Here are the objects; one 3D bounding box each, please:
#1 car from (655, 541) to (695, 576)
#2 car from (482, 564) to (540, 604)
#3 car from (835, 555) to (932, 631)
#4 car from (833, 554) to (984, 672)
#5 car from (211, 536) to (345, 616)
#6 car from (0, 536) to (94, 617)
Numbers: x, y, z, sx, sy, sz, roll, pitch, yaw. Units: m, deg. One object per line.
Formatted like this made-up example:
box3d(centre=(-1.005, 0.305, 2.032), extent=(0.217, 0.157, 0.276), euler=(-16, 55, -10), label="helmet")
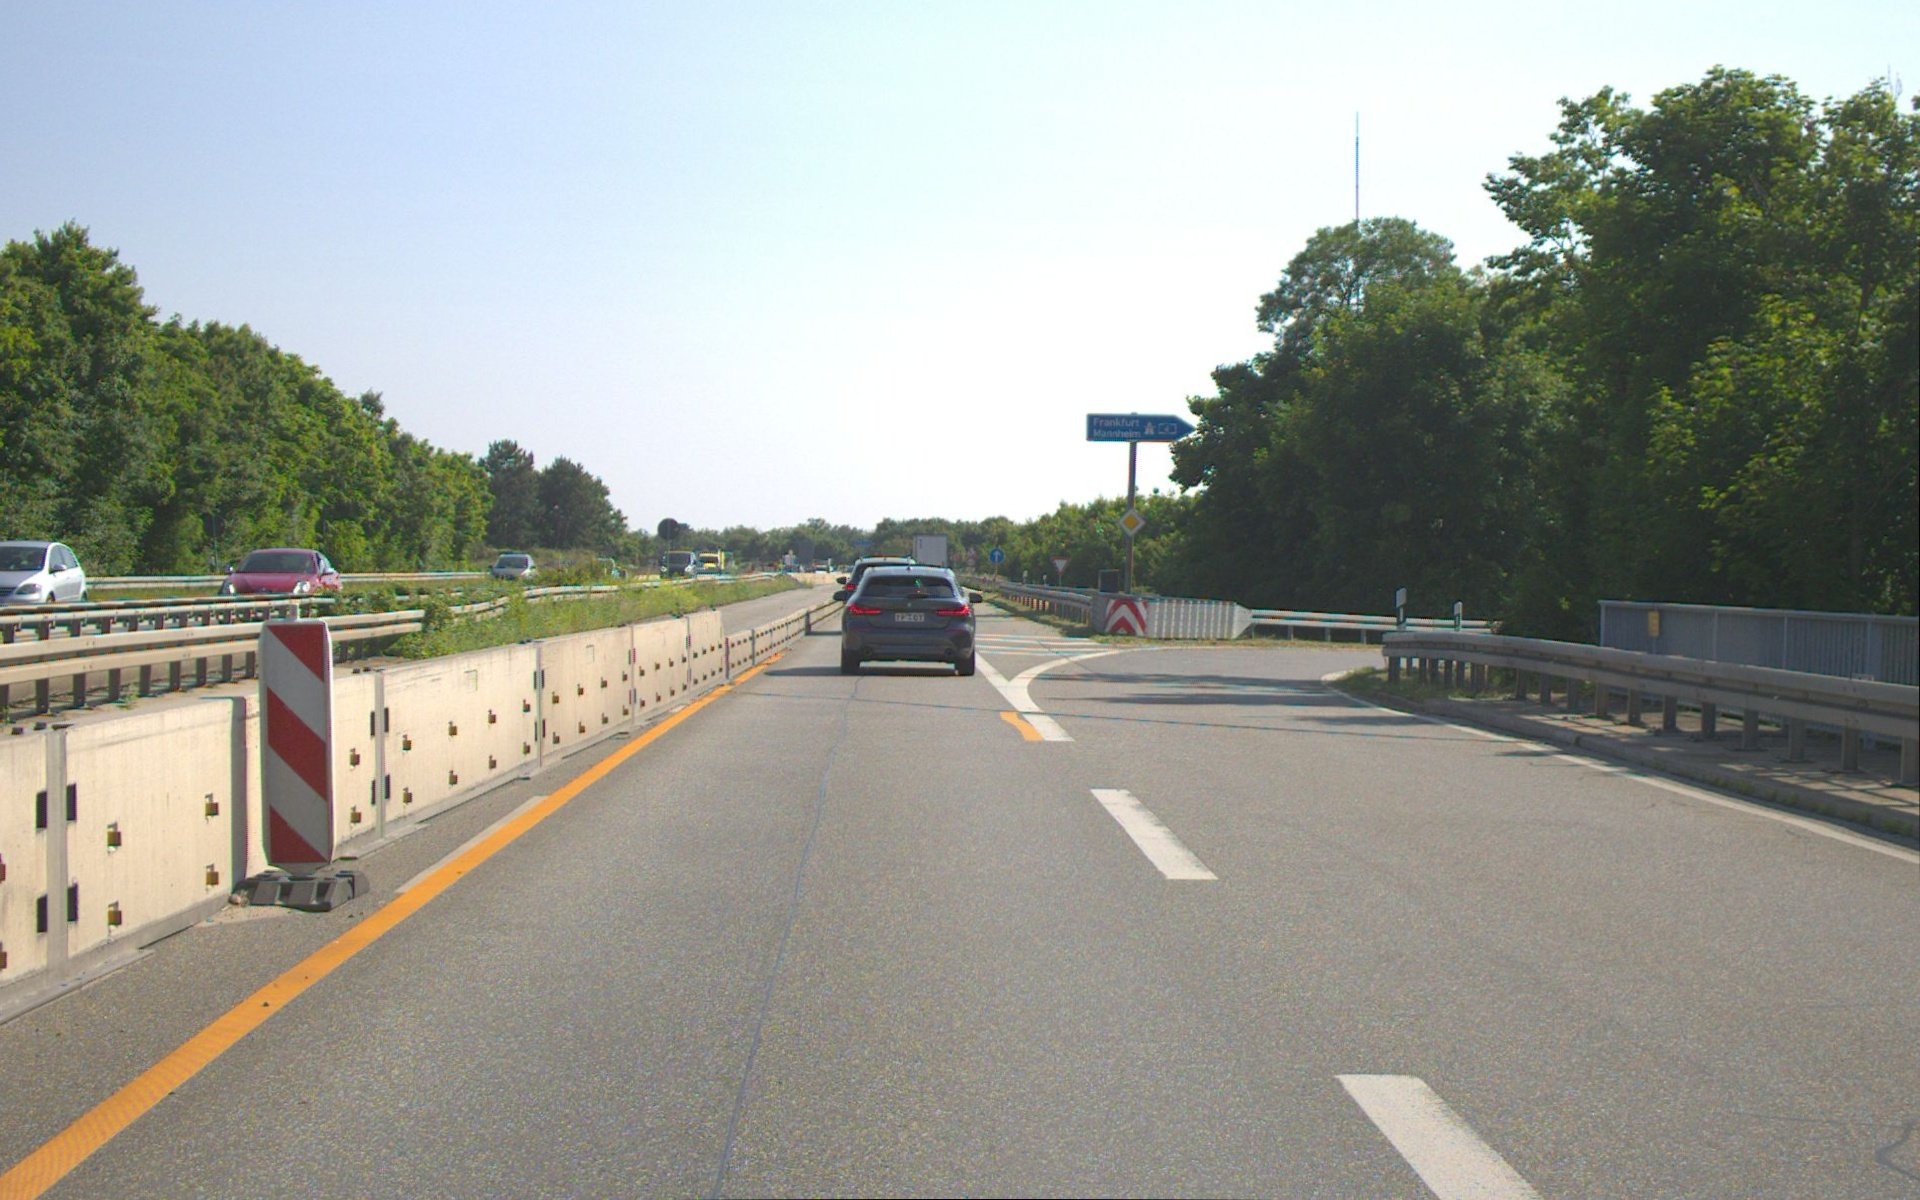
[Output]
box3d(centre=(-16.937, -2.477, 204.204), extent=(1.993, 2.027, 5.169), euler=(1, 1, -1), label="car")
box3d(centre=(-17.947, -0.653, 137.582), extent=(1.763, 1.577, 4.422), euler=(0, 1, -1), label="car")
box3d(centre=(-1.595, -0.163, 73.012), extent=(1.993, 1.561, 4.000), euler=(0, 1, -1), label="car")
box3d(centre=(-0.741, 0.144, 46.544), extent=(1.920, 1.488, 4.000), euler=(1, 1, -2), label="car")
box3d(centre=(-12.399, -0.444, 62.684), extent=(1.714, 1.392, 4.221), euler=(1, 1, -2), label="car")
box3d(centre=(-16.776, -0.430, 61.123), extent=(1.777, 1.388, 4.126), euler=(-1, 1, -1), label="car")
